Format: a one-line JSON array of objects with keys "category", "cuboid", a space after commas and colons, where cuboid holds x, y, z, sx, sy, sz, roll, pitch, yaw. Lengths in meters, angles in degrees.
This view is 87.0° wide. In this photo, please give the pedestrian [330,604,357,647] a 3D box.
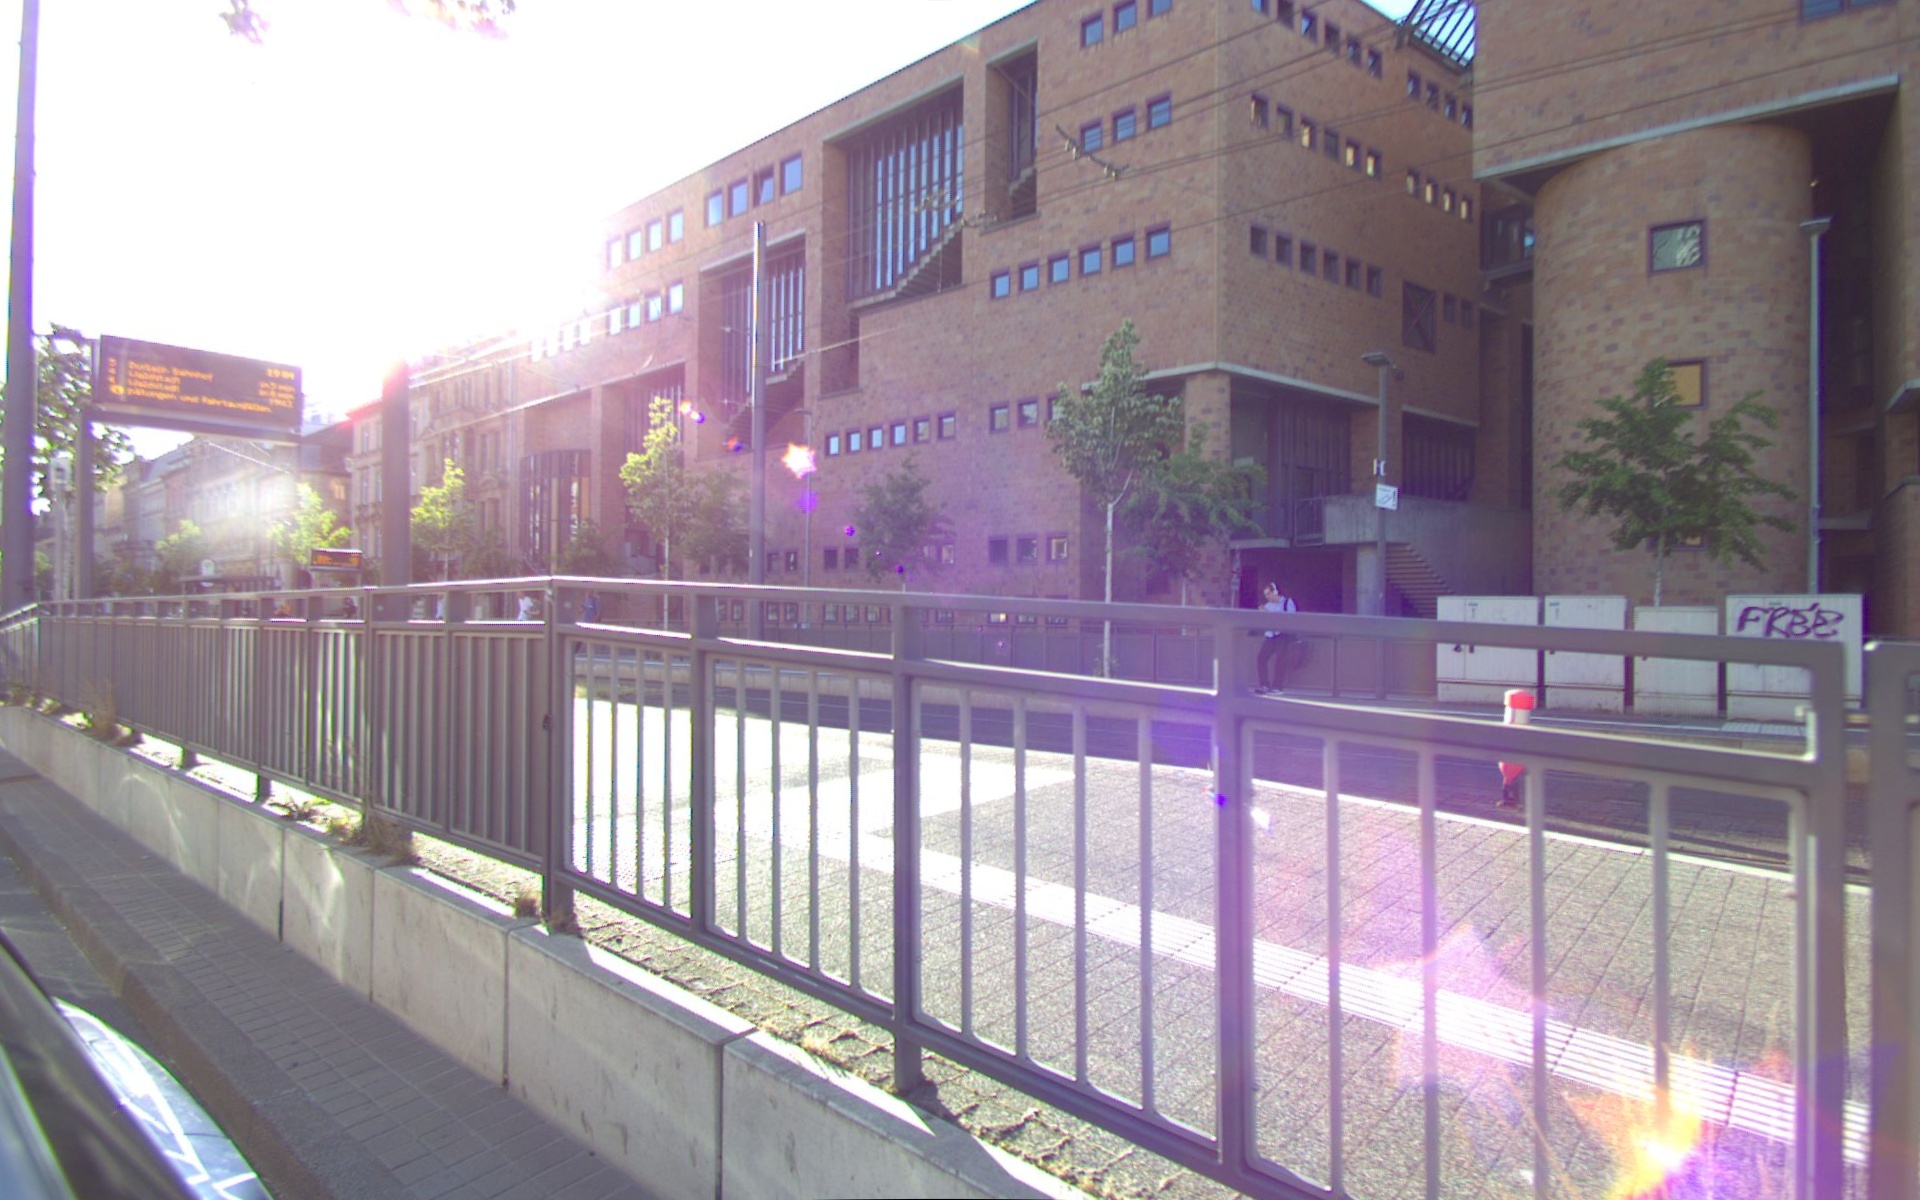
[{"category": "pedestrian", "cuboid": [-22.972, 0.944, 37.736, 0.586, 1.587, 0.684, -1, -2, 38]}]

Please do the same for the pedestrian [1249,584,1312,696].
[{"category": "pedestrian", "cuboid": [4.584, 0.566, 14.460, 0.653, 1.546, 0.693, -1, -2, 38]}]

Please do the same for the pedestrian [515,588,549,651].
[{"category": "pedestrian", "cuboid": [-12.020, 0.548, 28.425, 0.586, 1.755, 0.684, -1, -2, 38]}]

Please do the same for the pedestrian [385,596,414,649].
[{"category": "pedestrian", "cuboid": [-18.954, 0.763, 34.208, 0.586, 1.755, 0.684, -1, -2, 38]}]

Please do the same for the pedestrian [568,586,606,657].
[{"category": "pedestrian", "cuboid": [-9.387, 0.531, 25.496, 0.586, 1.755, 0.684, -1, -2, 38]}]

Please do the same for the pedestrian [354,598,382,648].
[{"category": "pedestrian", "cuboid": [-21.016, 0.819, 35.917, 0.586, 1.755, 0.684, -1, -2, 38]}]

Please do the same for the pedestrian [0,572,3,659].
[{"category": "pedestrian", "cuboid": [-22.870, 0.365, 23.551, 0.880, 2.029, 0.774, -1, -2, 41]}]

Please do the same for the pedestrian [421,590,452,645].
[{"category": "pedestrian", "cuboid": [-16.812, 0.571, 32.499, 0.586, 1.755, 0.684, -1, -2, 38]}]

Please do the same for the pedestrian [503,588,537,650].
[{"category": "pedestrian", "cuboid": [-12.549, 0.542, 28.856, 0.586, 1.755, 0.684, -1, -2, 38]}]

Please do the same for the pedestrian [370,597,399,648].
[{"category": "pedestrian", "cuboid": [-20.040, 0.798, 35.248, 0.586, 1.755, 0.684, -1, -2, 38]}]
